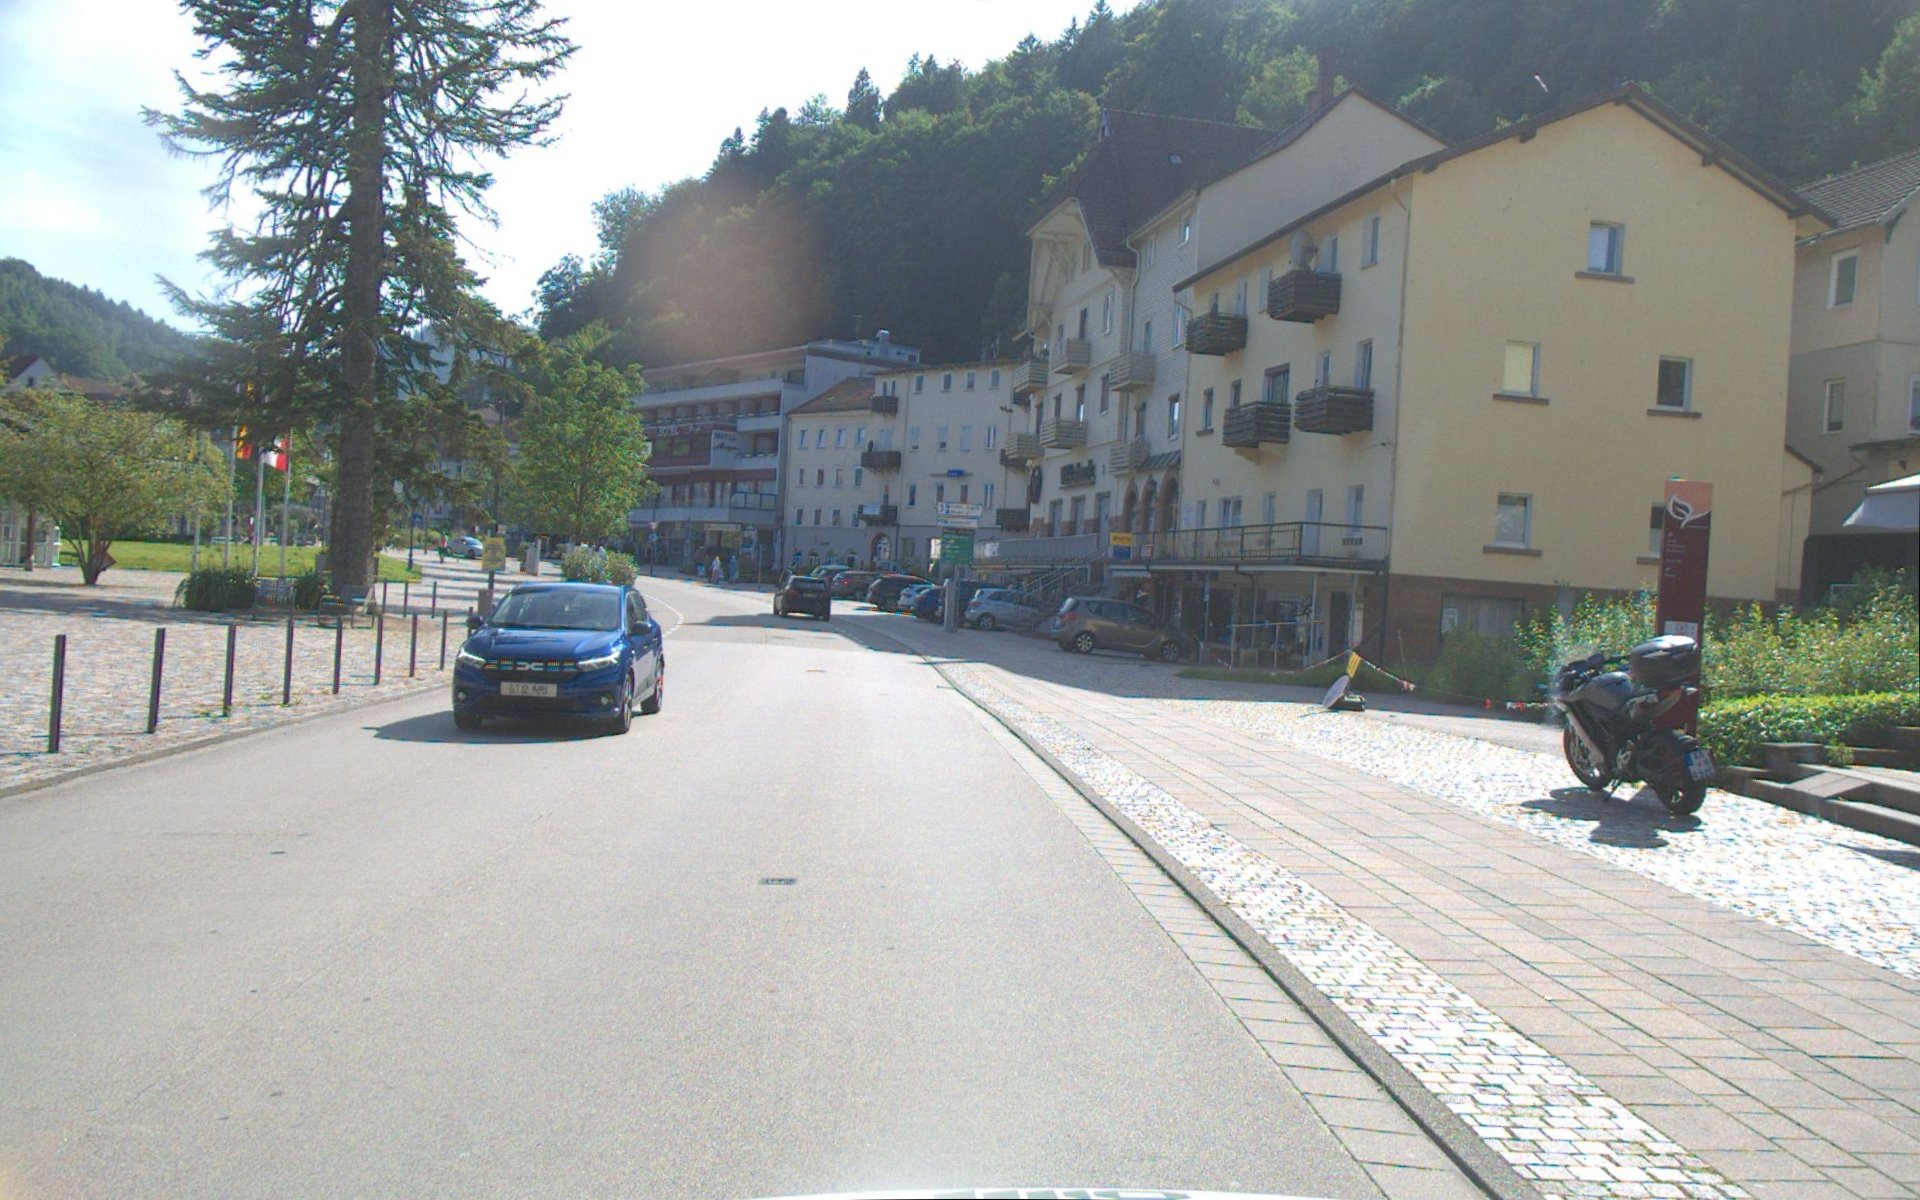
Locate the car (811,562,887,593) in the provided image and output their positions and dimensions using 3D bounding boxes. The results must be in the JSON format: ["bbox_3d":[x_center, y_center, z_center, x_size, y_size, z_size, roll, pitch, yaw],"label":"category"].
[{"bbox_3d":[-6.217,-1.250,92.578,3.820,1.576,1.756,0,3,-30],"label":"car"}]

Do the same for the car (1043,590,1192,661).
[{"bbox_3d":[4.516,0.719,47.563,3.793,1.581,1.755,6,0,-12],"label":"car"}]

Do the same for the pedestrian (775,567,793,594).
[{"bbox_3d":[-9.651,-1.059,90.719,0.730,1.467,0.624,1,2,-40],"label":"pedestrian"}]

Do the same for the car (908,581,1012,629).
[{"bbox_3d":[-0.014,0.206,66.429,3.839,1.485,1.732,6,0,-10],"label":"car"}]

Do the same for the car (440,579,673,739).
[{"bbox_3d":[-4.222,0.543,17.932,1.707,1.488,4.184,1,1,-4],"label":"car"}]

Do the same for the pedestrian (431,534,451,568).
[{"bbox_3d":[-29.776,-2.816,94.873,0.858,1.846,0.684,4,0,-31],"label":"pedestrian"}]

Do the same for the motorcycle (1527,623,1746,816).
[{"bbox_3d":[5.196,0.870,12.880,0.683,1.319,2.211,1,0,-3],"label":"motorcycle"}]

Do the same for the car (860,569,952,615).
[{"bbox_3d":[-2.547,-0.376,77.623,4.011,1.694,1.769,7,0,-10],"label":"car"}]

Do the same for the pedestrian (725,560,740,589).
[{"bbox_3d":[-14.418,-1.598,104.843,0.662,1.758,0.700,4,0,-32],"label":"pedestrian"}]

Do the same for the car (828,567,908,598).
[{"bbox_3d":[-4.951,-0.919,89.179,3.967,1.542,1.756,0,3,-30],"label":"car"}]

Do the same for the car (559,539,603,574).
[{"bbox_3d":[-22.901,-2.631,99.822,1.829,1.987,4.985,2,1,-22],"label":"car"}]

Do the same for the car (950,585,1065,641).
[{"bbox_3d":[1.730,0.461,61.112,3.839,1.616,1.771,6,1,-10],"label":"car"}]

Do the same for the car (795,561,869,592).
[{"bbox_3d":[-7.356,-1.356,94.943,3.820,1.640,1.756,0,3,-30],"label":"car"}]

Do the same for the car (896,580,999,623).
[{"bbox_3d":[-0.566,0.072,72.986,4.275,1.486,1.770,5,-1,-7],"label":"car"}]

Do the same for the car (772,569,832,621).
[{"bbox_3d":[-5.817,-0.220,60.680,1.697,1.601,3.743,4,2,-12],"label":"car"}]

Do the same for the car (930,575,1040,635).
[{"bbox_3d":[0.952,0.198,63.773,3.839,1.835,1.853,7,-1,-10],"label":"car"}]

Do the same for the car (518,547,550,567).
[{"bbox_3d":[-39.697,-4.044,154.139,1.661,1.648,3.955,4,1,-34],"label":"car"}]

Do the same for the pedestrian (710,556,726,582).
[{"bbox_3d":[-15.358,-1.966,104.842,0.750,1.621,0.621,4,0,-32],"label":"pedestrian"}]

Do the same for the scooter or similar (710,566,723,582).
[{"bbox_3d":[-15.467,-1.632,104.986,0.590,0.967,0.469,4,1,-32],"label":"scooter or similar"}]
